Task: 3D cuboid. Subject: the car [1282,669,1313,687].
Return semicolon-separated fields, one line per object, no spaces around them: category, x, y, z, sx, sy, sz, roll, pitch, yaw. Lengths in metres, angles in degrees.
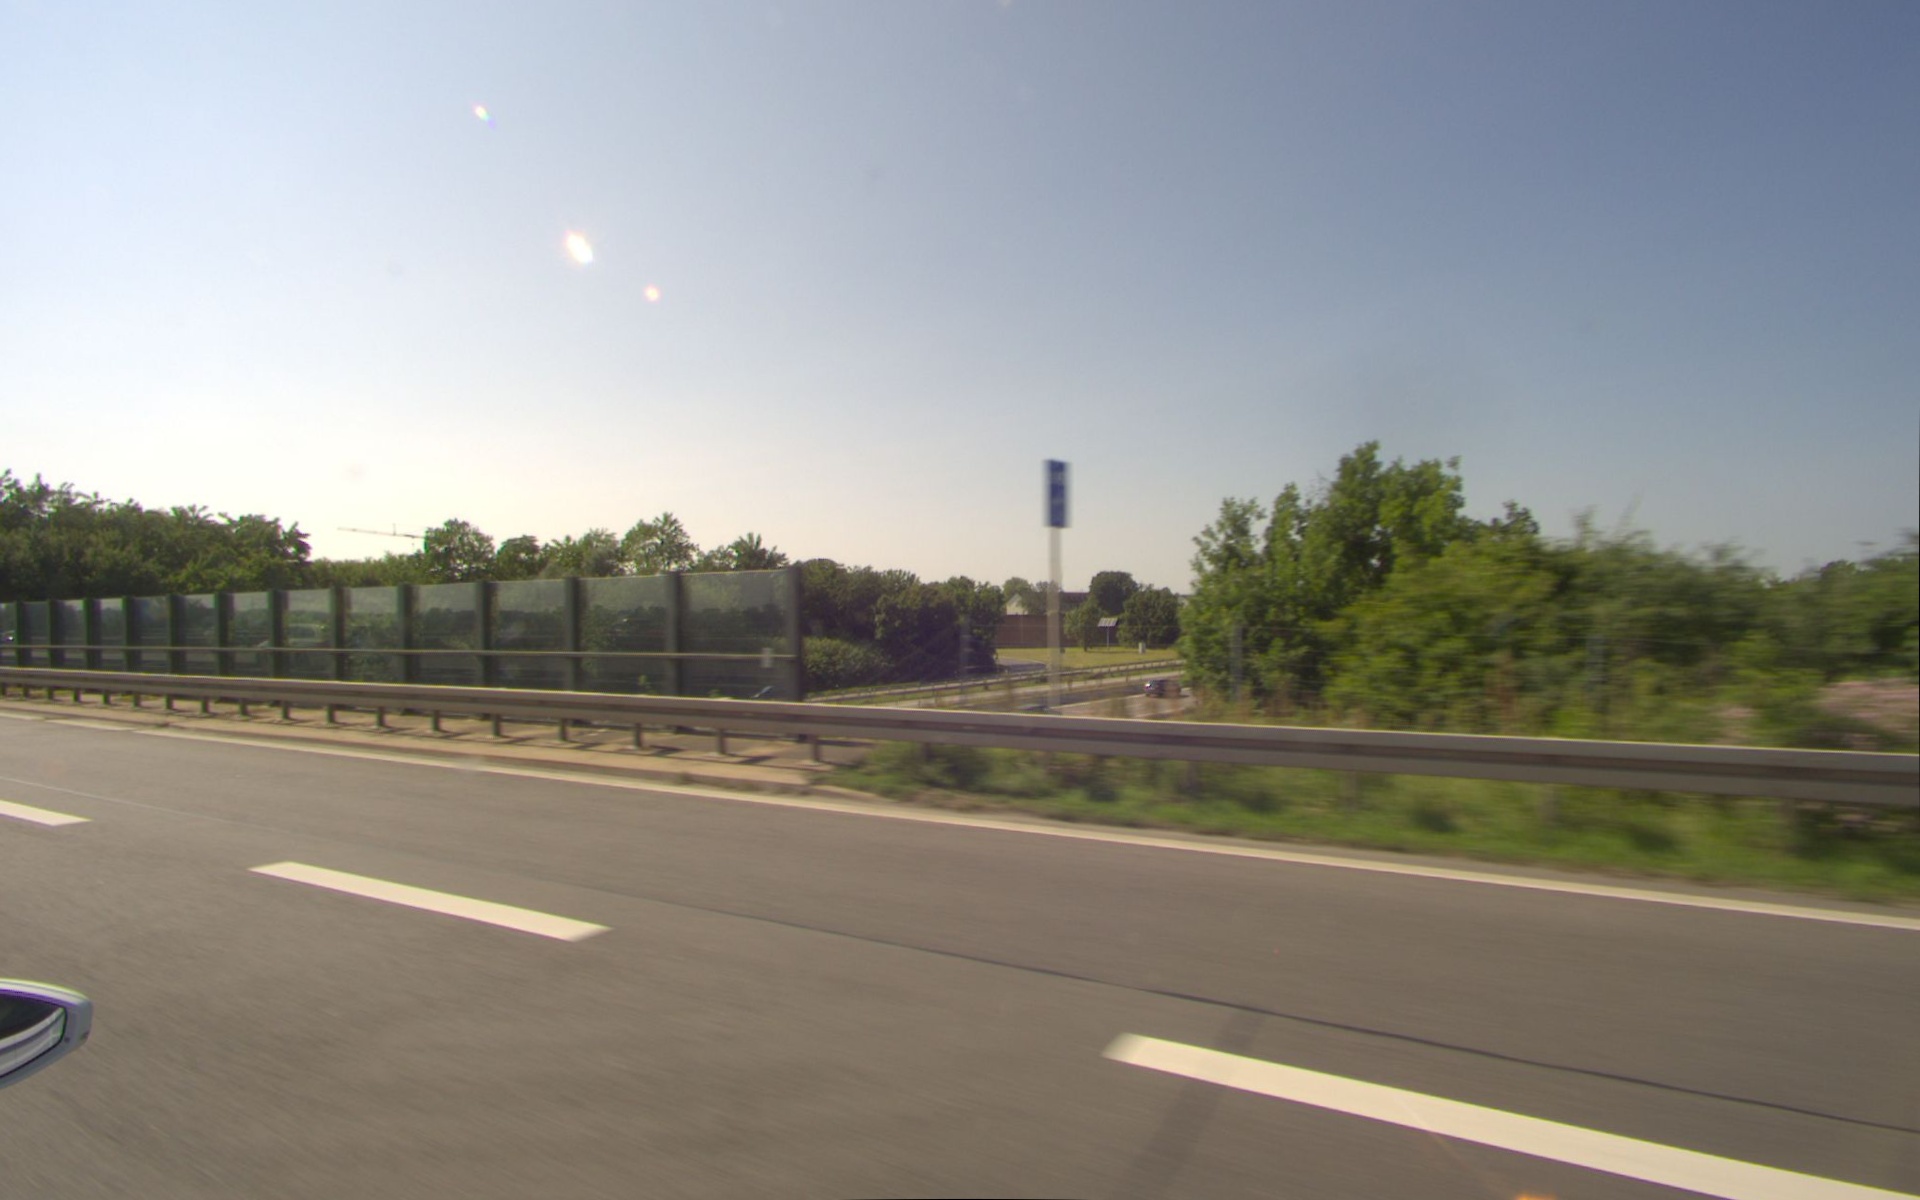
car;37.574;8.664;111.389;1.859;1.787;3.966;-1;-2;43

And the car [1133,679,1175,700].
car;17.336;7.980;89.338;1.978;1.605;3.968;-1;-2;42

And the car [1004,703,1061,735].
car;4.988;8.152;68.778;1.867;1.673;3.964;-1;0;43
